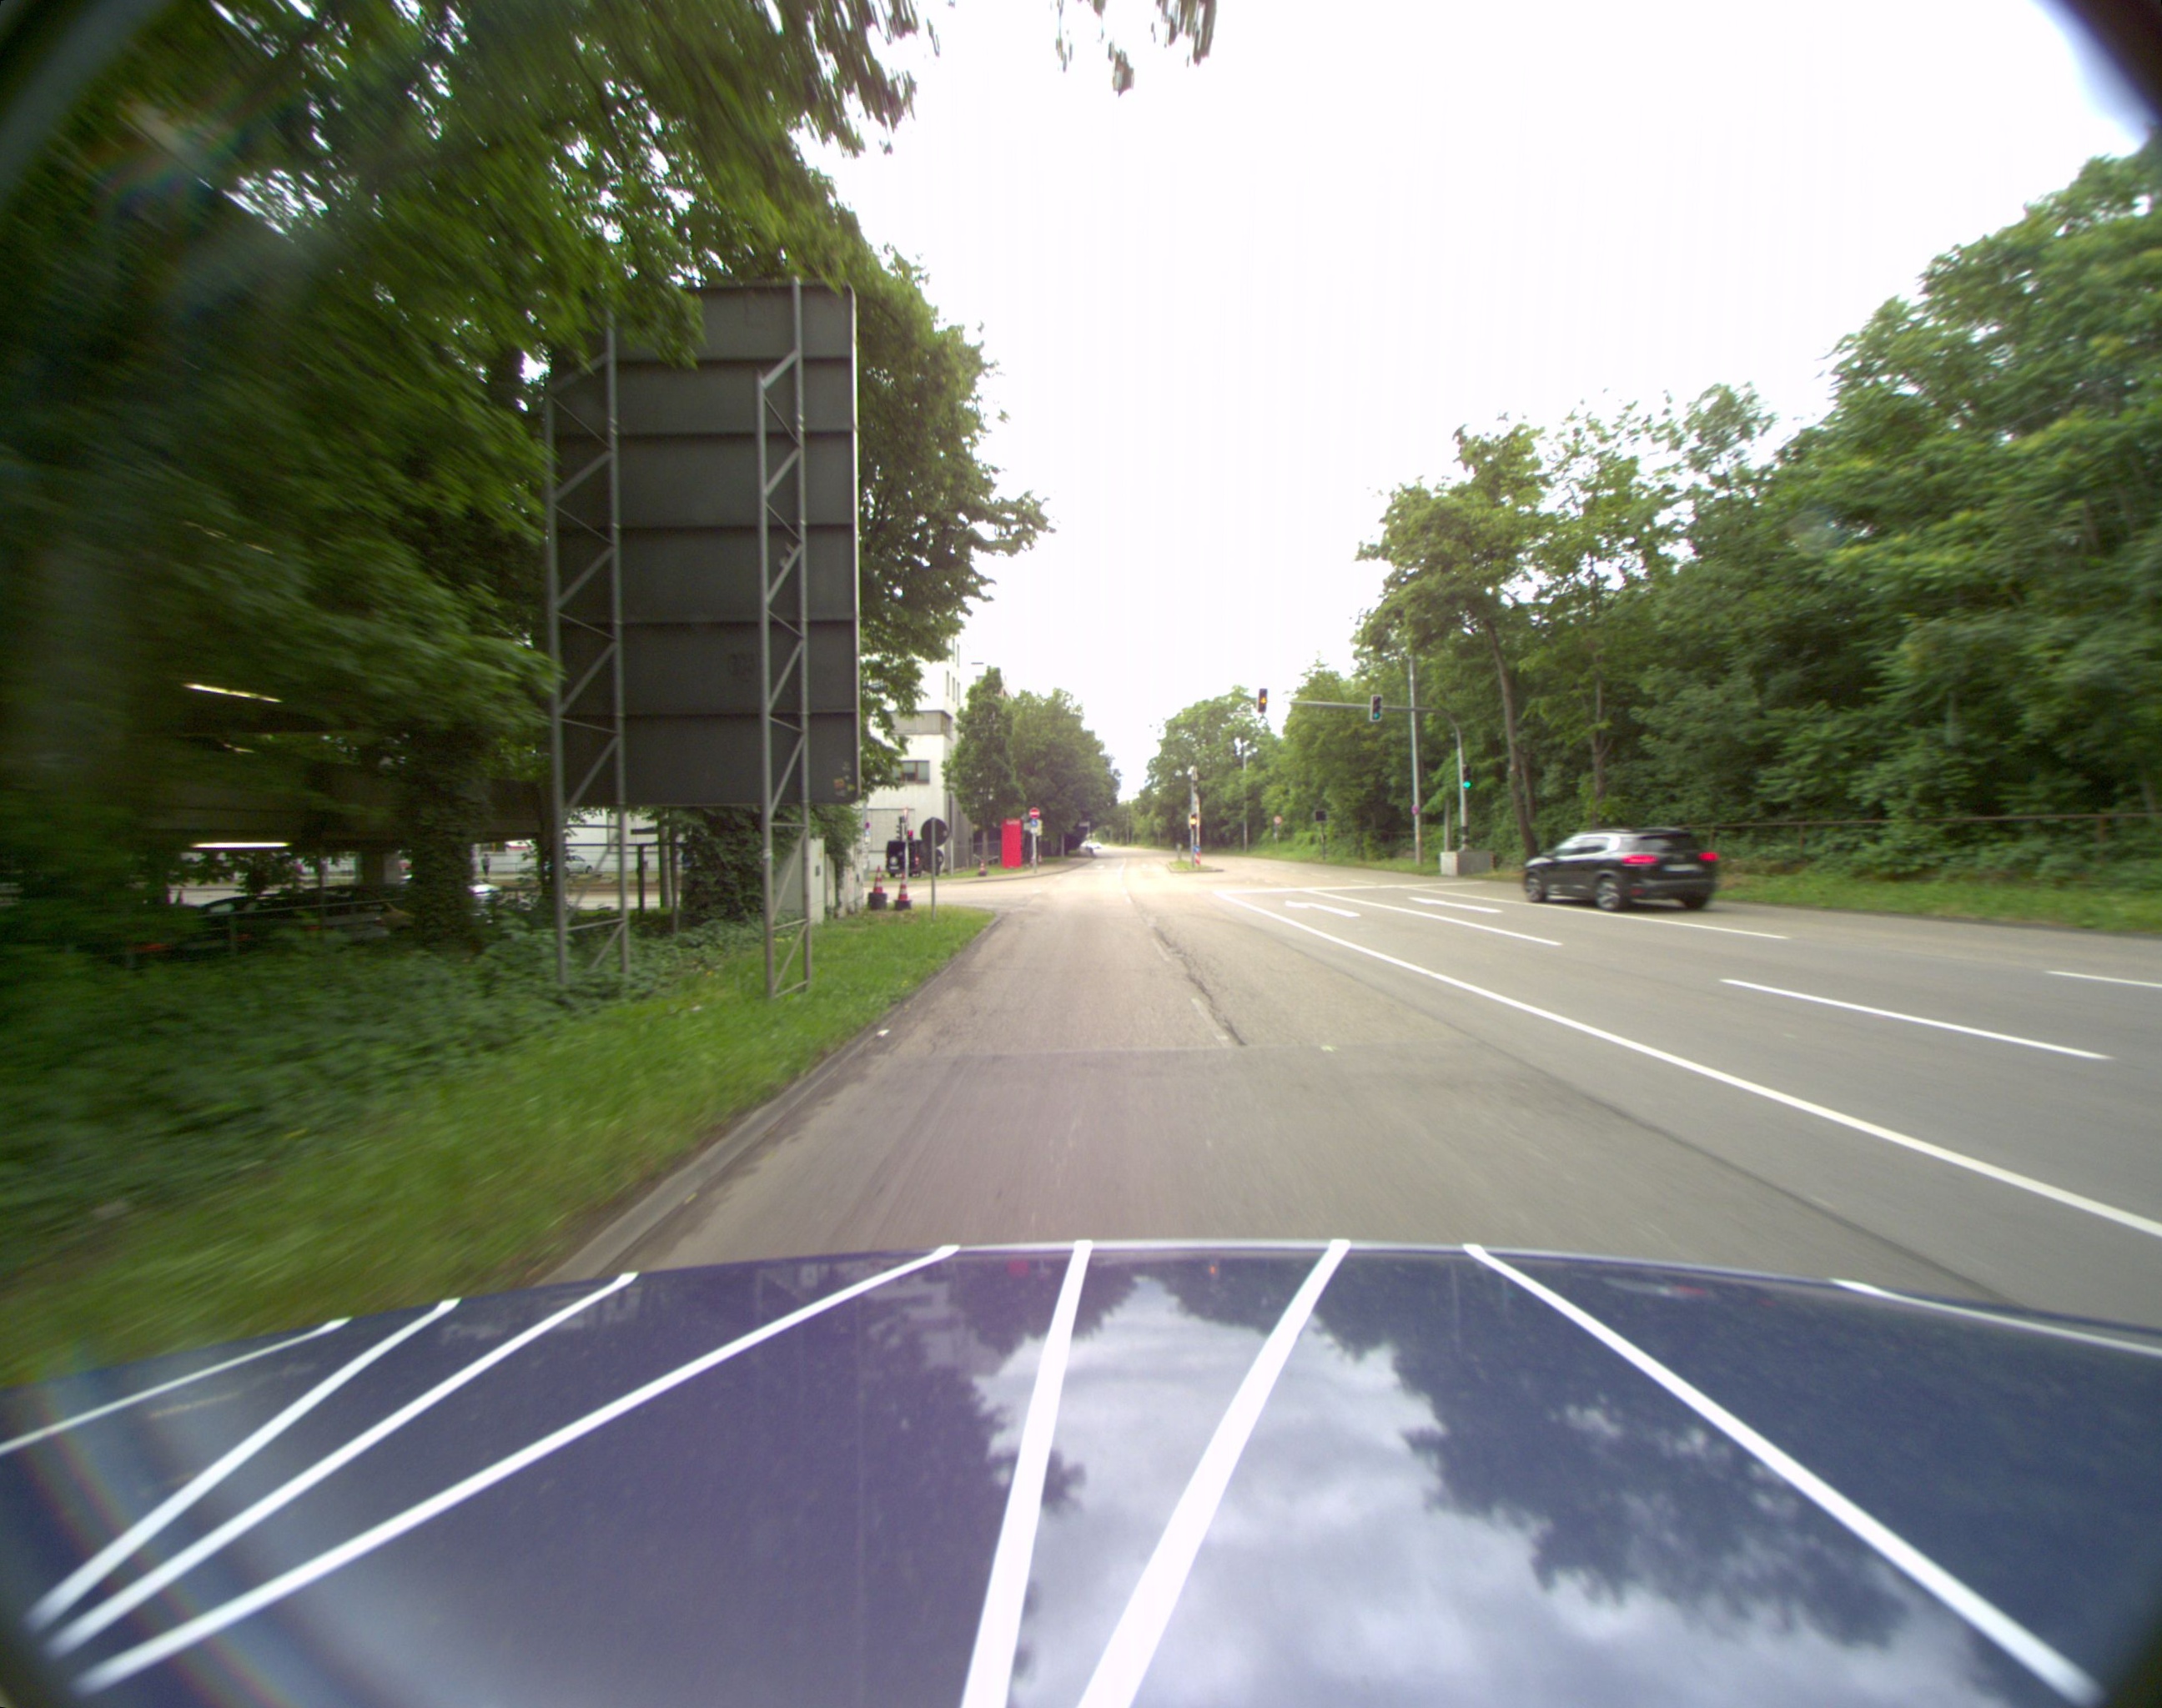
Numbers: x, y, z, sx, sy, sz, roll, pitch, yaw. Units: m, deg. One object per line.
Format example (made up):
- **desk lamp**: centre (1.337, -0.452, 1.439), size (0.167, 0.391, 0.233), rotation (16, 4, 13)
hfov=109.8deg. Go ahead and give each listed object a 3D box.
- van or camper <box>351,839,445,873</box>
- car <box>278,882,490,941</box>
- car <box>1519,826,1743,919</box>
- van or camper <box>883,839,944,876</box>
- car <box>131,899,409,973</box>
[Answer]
- **van or camper**: centre (-52.092, 0.113, 58.108), size (2.256, 2.412, 5.268), rotation (-1, 2, 1)
- **car**: centre (-15.127, 1.229, 16.594), size (3.251, 1.081, 1.539), rotation (-1, 1, 3)
- **car**: centre (11.493, 0.324, 16.308), size (1.826, 1.644, 4.221), rotation (-3, 1, 2)
- **van or camper**: centre (-10.110, 0.247, 46.394), size (2.168, 2.097, 5.646), rotation (-1, -1, 3)
- **car**: centre (-15.112, 1.517, 14.276), size (3.636, 1.155, 1.622), rotation (-1, 1, 5)
